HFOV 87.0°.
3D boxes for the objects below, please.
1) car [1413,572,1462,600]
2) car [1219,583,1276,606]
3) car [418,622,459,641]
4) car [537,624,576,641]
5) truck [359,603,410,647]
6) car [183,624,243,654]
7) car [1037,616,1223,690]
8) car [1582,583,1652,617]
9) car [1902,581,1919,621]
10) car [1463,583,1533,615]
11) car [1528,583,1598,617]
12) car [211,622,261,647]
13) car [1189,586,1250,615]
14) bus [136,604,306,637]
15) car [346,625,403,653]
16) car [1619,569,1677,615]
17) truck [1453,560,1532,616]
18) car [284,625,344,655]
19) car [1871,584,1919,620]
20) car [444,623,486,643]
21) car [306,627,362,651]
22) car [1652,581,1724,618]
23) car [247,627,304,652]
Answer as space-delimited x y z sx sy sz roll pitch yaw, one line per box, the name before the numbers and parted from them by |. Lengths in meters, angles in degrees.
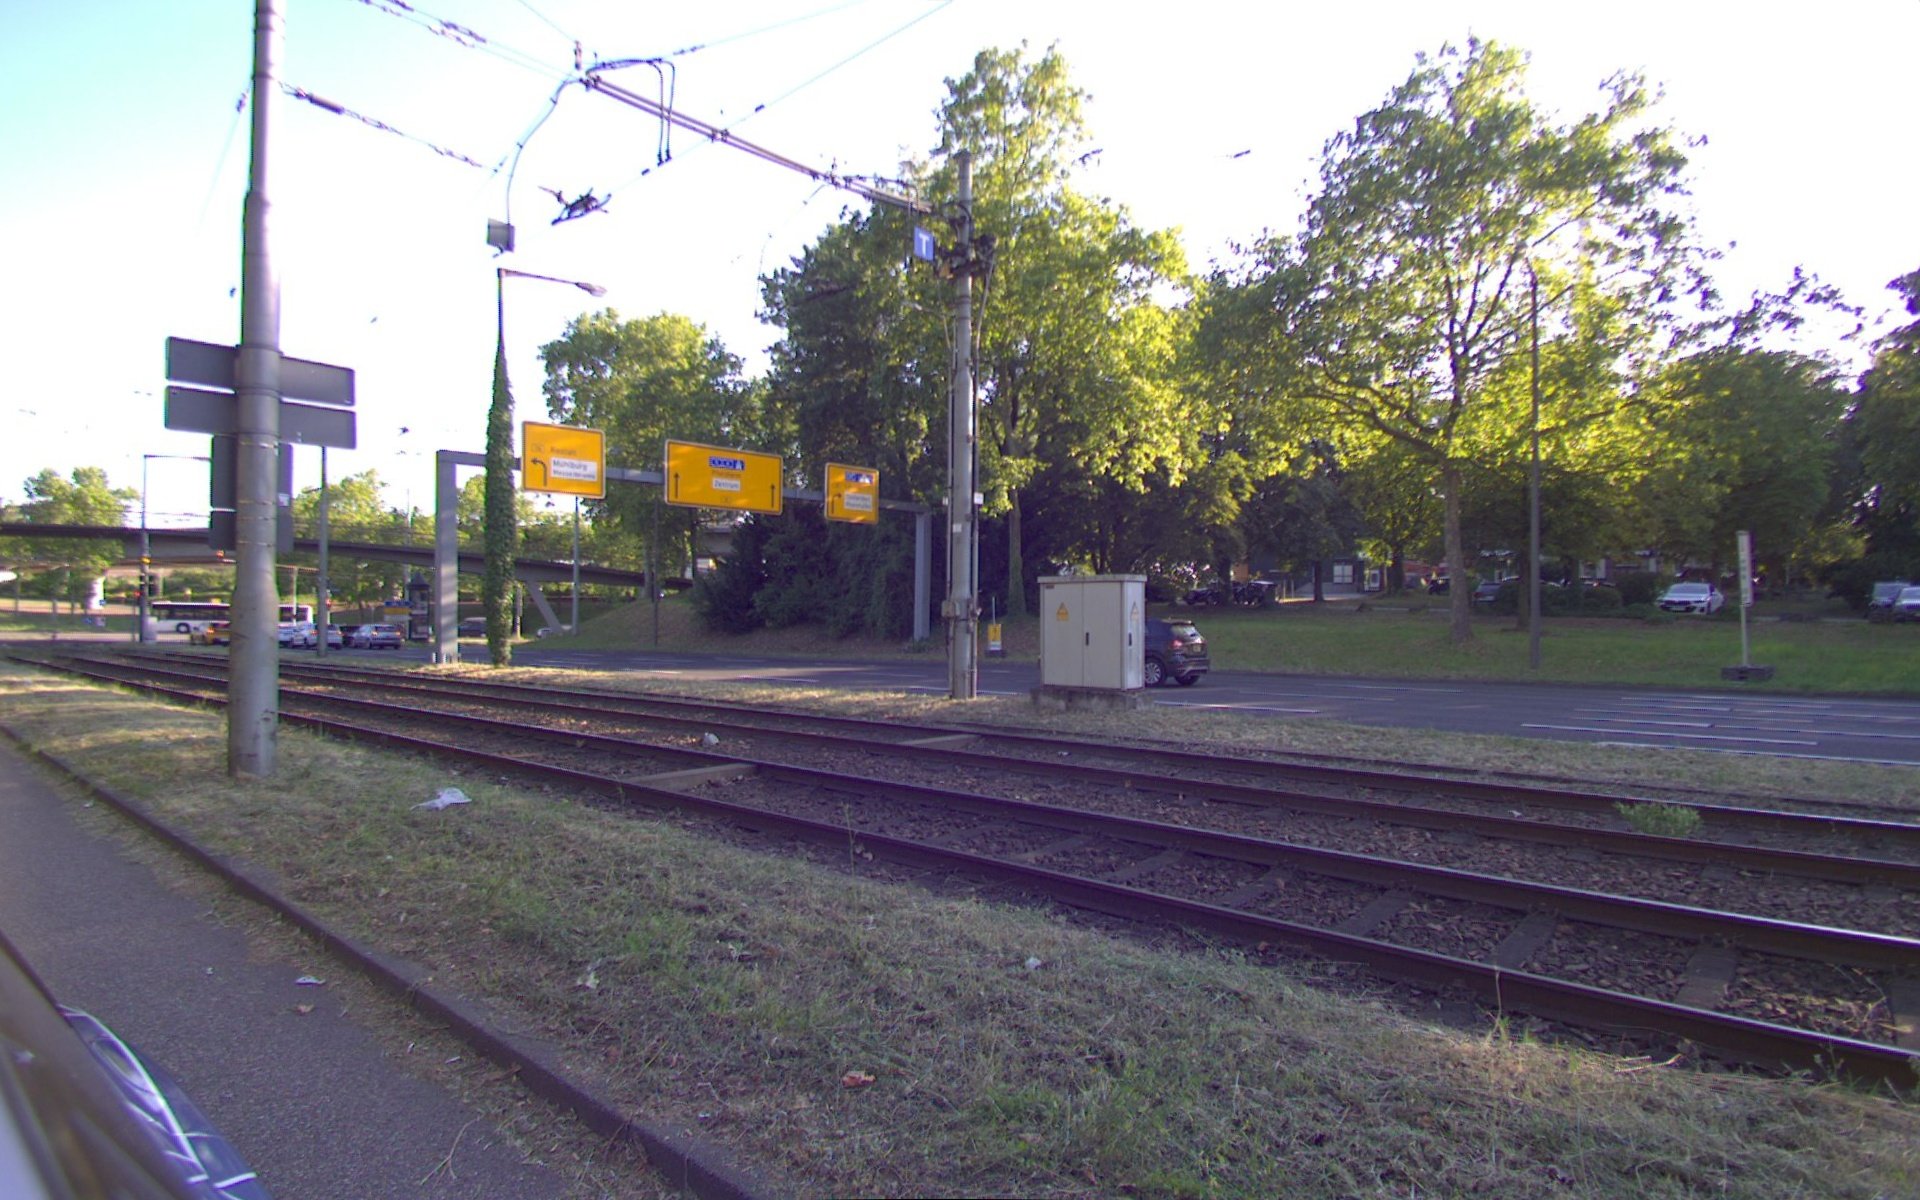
car | 33.561 -1.023 71.056 2.290 1.864 5.214 -1 1 34
car | 18.847 -0.359 66.536 1.645 1.474 3.737 0 1 -22
car | -54.669 3.307 106.084 3.831 1.872 1.682 -1 0 -28
car | -42.969 3.458 107.873 3.747 1.591 1.683 -1 0 -26
truck | -40.298 1.726 70.762 2.248 2.901 6.895 0 -1 -37
car | -40.799 2.113 55.250 3.997 1.556 1.744 -1 -1 40
car | 3.855 1.175 23.362 3.974 1.569 1.732 -2 -3 44
car | 30.040 -0.016 46.215 1.942 1.521 4.039 0 0 44
car | 37.585 0.014 38.888 1.942 1.521 4.039 0 0 44
car | 26.175 -0.066 49.181 1.942 1.521 4.039 0 0 44
car | 28.430 -0.007 47.652 1.942 1.521 4.039 0 0 44
car | -45.833 2.171 64.038 4.228 1.561 1.892 -1 -2 44
car | 15.400 0.039 59.952 1.791 1.657 3.942 -1 -1 44
bus | -70.906 1.914 97.571 12.967 2.884 2.424 -1 0 -29
car | -34.956 2.308 60.407 3.998 1.556 1.789 -1 -1 41
car | 36.890 -0.425 54.234 2.161 2.320 4.348 0 0 40
truck | 31.747 -0.714 60.279 2.503 3.191 6.137 0 0 45
car | -35.736 2.193 55.951 3.997 1.556 1.744 -1 -1 40
car | 43.974 0.070 47.221 3.998 1.628 1.864 -1 0 -43
car | -50.799 3.403 103.926 3.748 1.872 1.682 -1 0 -30
car | -39.757 2.428 64.223 4.224 1.435 1.844 -1 -1 40
car | 31.566 -0.019 43.839 1.942 1.521 4.039 0 0 44
car | -40.569 2.324 59.949 4.226 1.435 1.893 -1 -1 42
